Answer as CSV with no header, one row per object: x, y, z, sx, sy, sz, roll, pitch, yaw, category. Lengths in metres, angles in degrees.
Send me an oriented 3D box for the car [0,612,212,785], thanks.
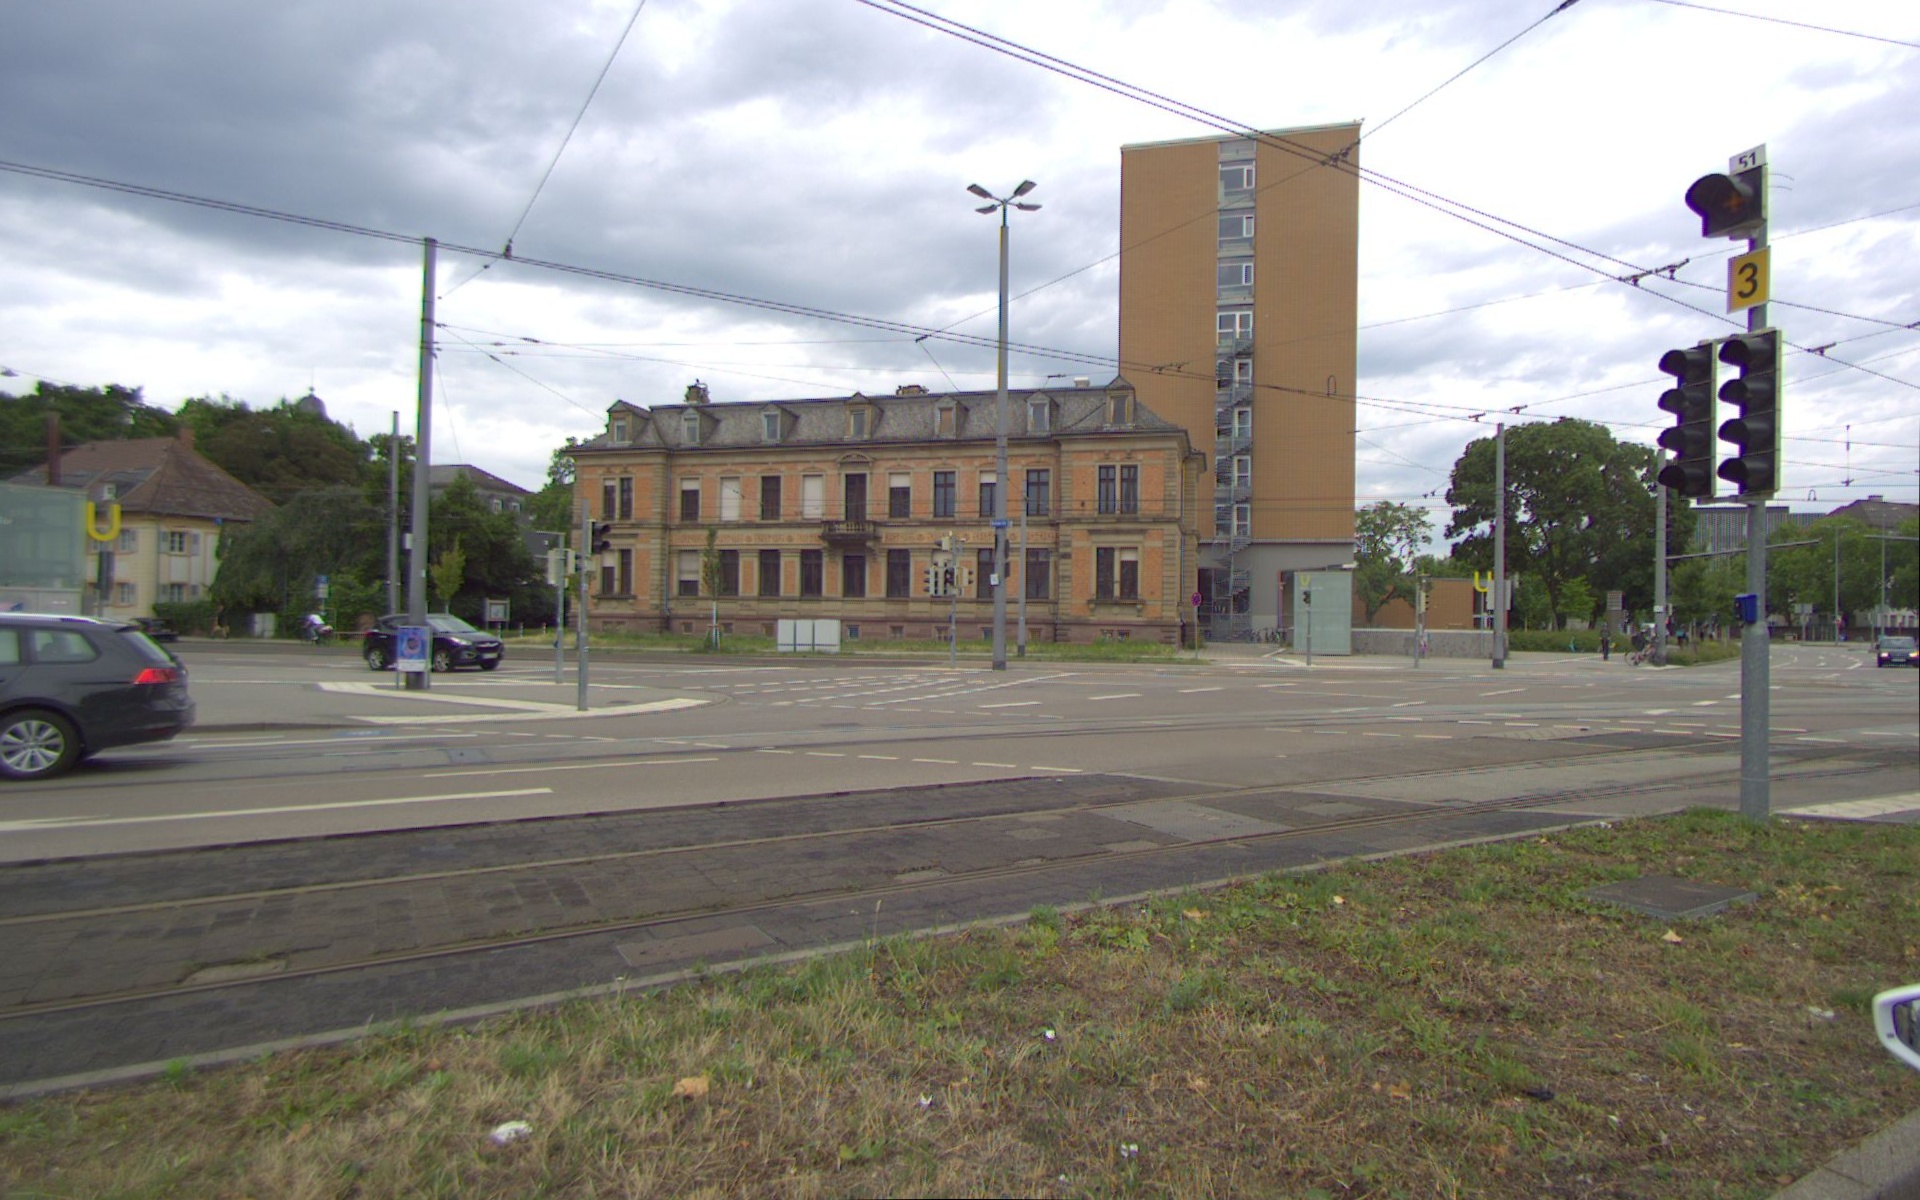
-9.591,0.847,9.025,4.415,1.489,1.873,1,-1,-32,car

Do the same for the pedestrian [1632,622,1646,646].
49.777,2.473,73.646,0.681,1.757,0.739,1,-1,-44,pedestrian

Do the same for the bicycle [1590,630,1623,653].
43.705,2.802,67.883,2.223,1.468,0.844,1,-1,-25,bicycle

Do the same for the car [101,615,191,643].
-44.889,1.595,55.419,3.920,1.450,2.001,0,-1,18,car

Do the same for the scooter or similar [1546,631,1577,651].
40.620,2.750,67.861,1.744,1.319,0.629,0,-1,29,scooter or similar

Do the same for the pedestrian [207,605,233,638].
-42.010,1.232,57.045,0.832,1.857,0.810,1,-1,11,pedestrian

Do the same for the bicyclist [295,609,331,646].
-32.240,1.350,50.055,0.996,1.806,1.093,0,-1,17,bicyclist

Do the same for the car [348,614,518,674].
-15.530,1.275,29.684,4.159,1.632,2.001,1,-1,14,car

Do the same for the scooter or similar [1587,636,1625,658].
35.398,2.585,55.041,1.872,1.180,0.573,1,-1,-9,scooter or similar

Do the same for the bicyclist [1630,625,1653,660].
34.403,2.126,50.690,0.803,1.679,0.790,4,2,40,bicyclist

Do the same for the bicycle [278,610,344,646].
-32.371,1.386,50.122,3.024,1.773,1.086,0,-1,18,bicycle

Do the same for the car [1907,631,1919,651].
85.152,3.607,88.420,1.966,1.795,3.989,0,-1,33,car

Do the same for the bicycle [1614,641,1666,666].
34.335,2.684,50.725,2.088,1.042,0.791,4,3,41,bicycle

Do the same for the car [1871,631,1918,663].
47.564,2.375,51.178,1.600,1.535,3.646,-1,-2,41,car

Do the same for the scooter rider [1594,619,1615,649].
35.329,1.869,55.032,0.807,1.649,0.568,1,-1,-9,scooter rider
